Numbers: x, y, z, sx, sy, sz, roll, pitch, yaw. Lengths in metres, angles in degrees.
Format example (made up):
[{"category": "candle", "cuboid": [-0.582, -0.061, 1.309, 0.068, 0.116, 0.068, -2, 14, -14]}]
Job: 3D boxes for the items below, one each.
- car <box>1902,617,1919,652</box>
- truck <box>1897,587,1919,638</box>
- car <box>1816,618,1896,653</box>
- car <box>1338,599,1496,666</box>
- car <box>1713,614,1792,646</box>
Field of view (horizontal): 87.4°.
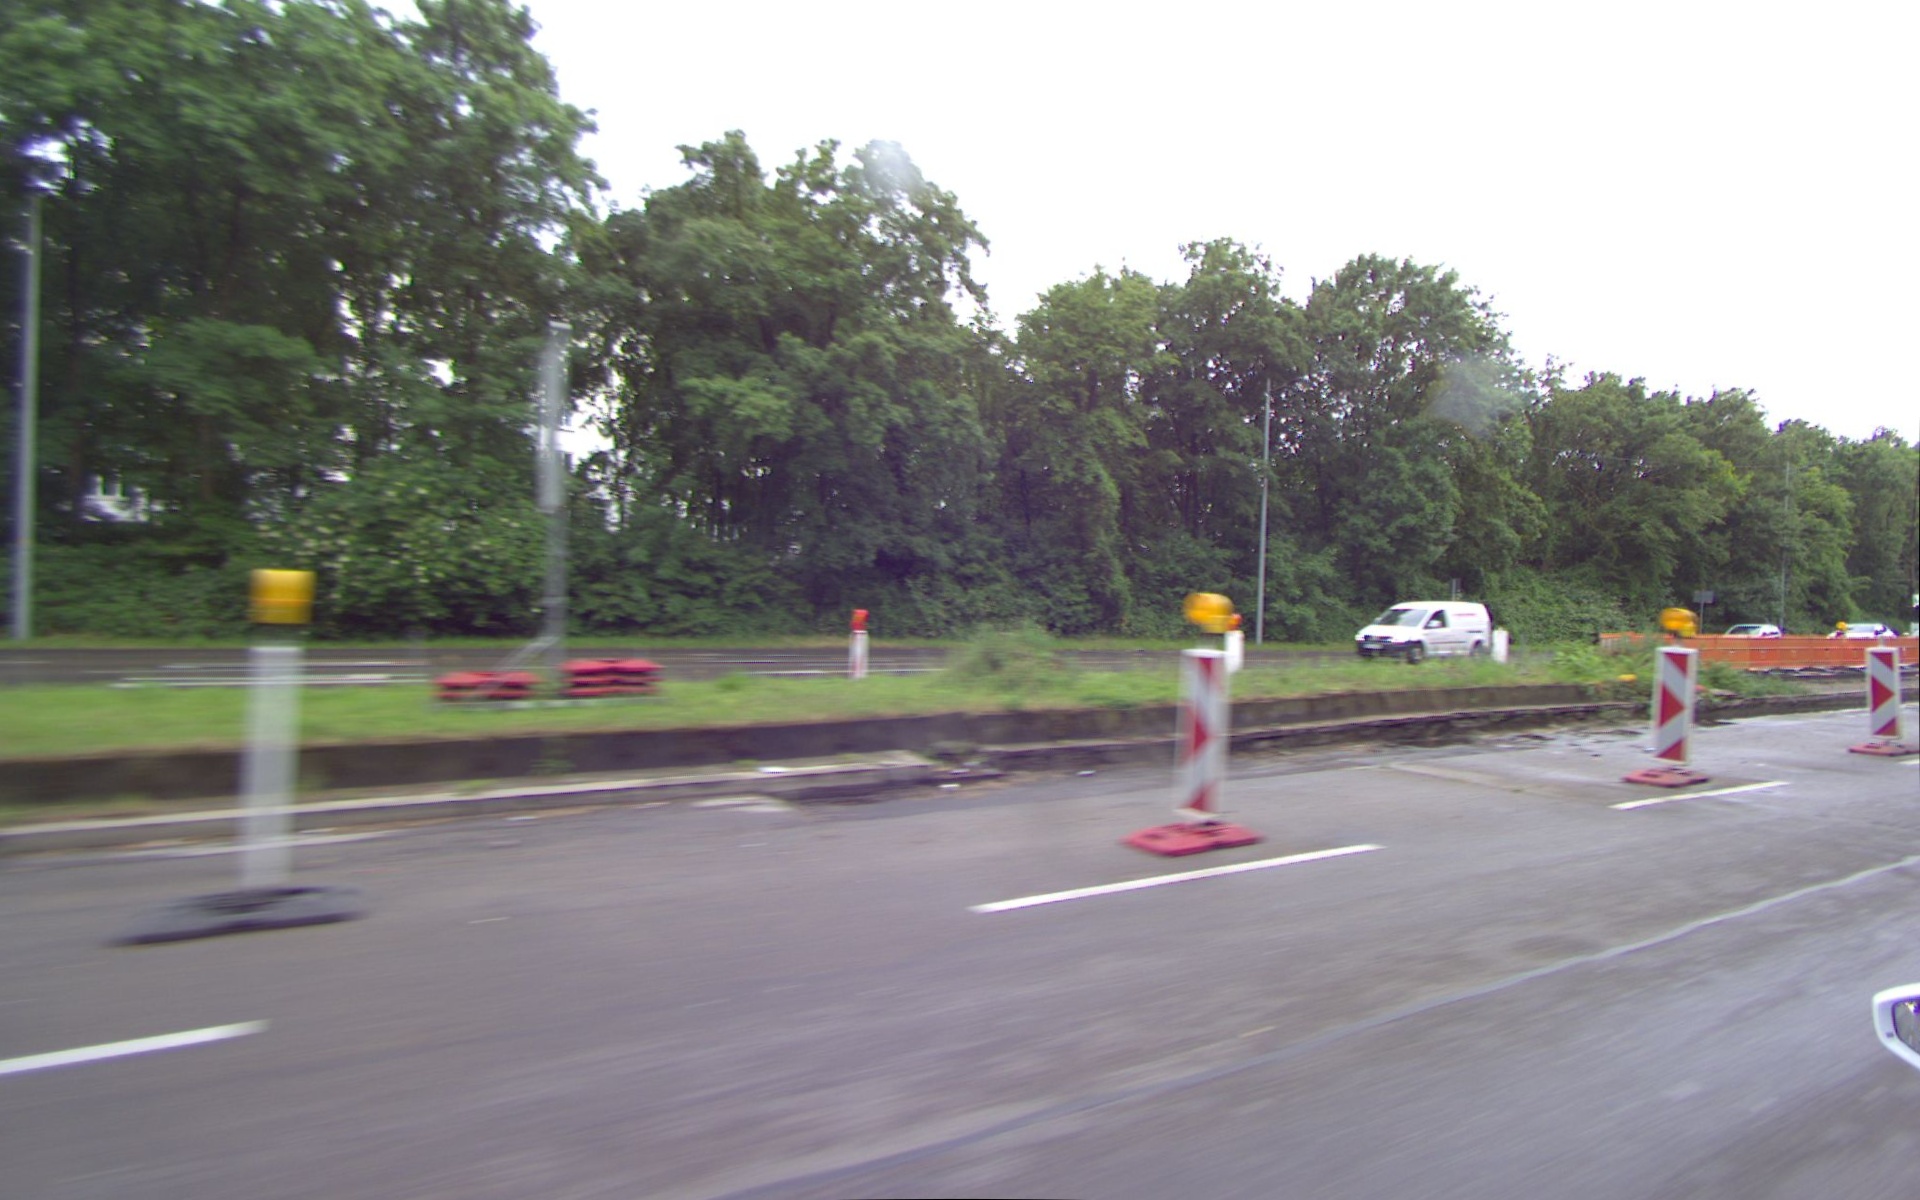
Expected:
[{"category": "car", "cuboid": [44.237, 1.557, 44.958, 4.625, 1.506, 1.846, 1, 0, -31]}, {"category": "truck", "cuboid": [64.902, 0.870, 65.883, 10.040, 3.190, 2.779, 1, 0, -34]}, {"category": "car", "cuboid": [42.994, 1.676, 48.188, 3.994, 1.571, 1.825, 1, -1, -32]}, {"category": "car", "cuboid": [13.501, 0.905, 29.581, 4.779, 1.805, 1.903, 0, 1, -32]}, {"category": "car", "cuboid": [38.101, 1.442, 48.275, 3.852, 1.444, 1.781, 1, -1, -32]}]
